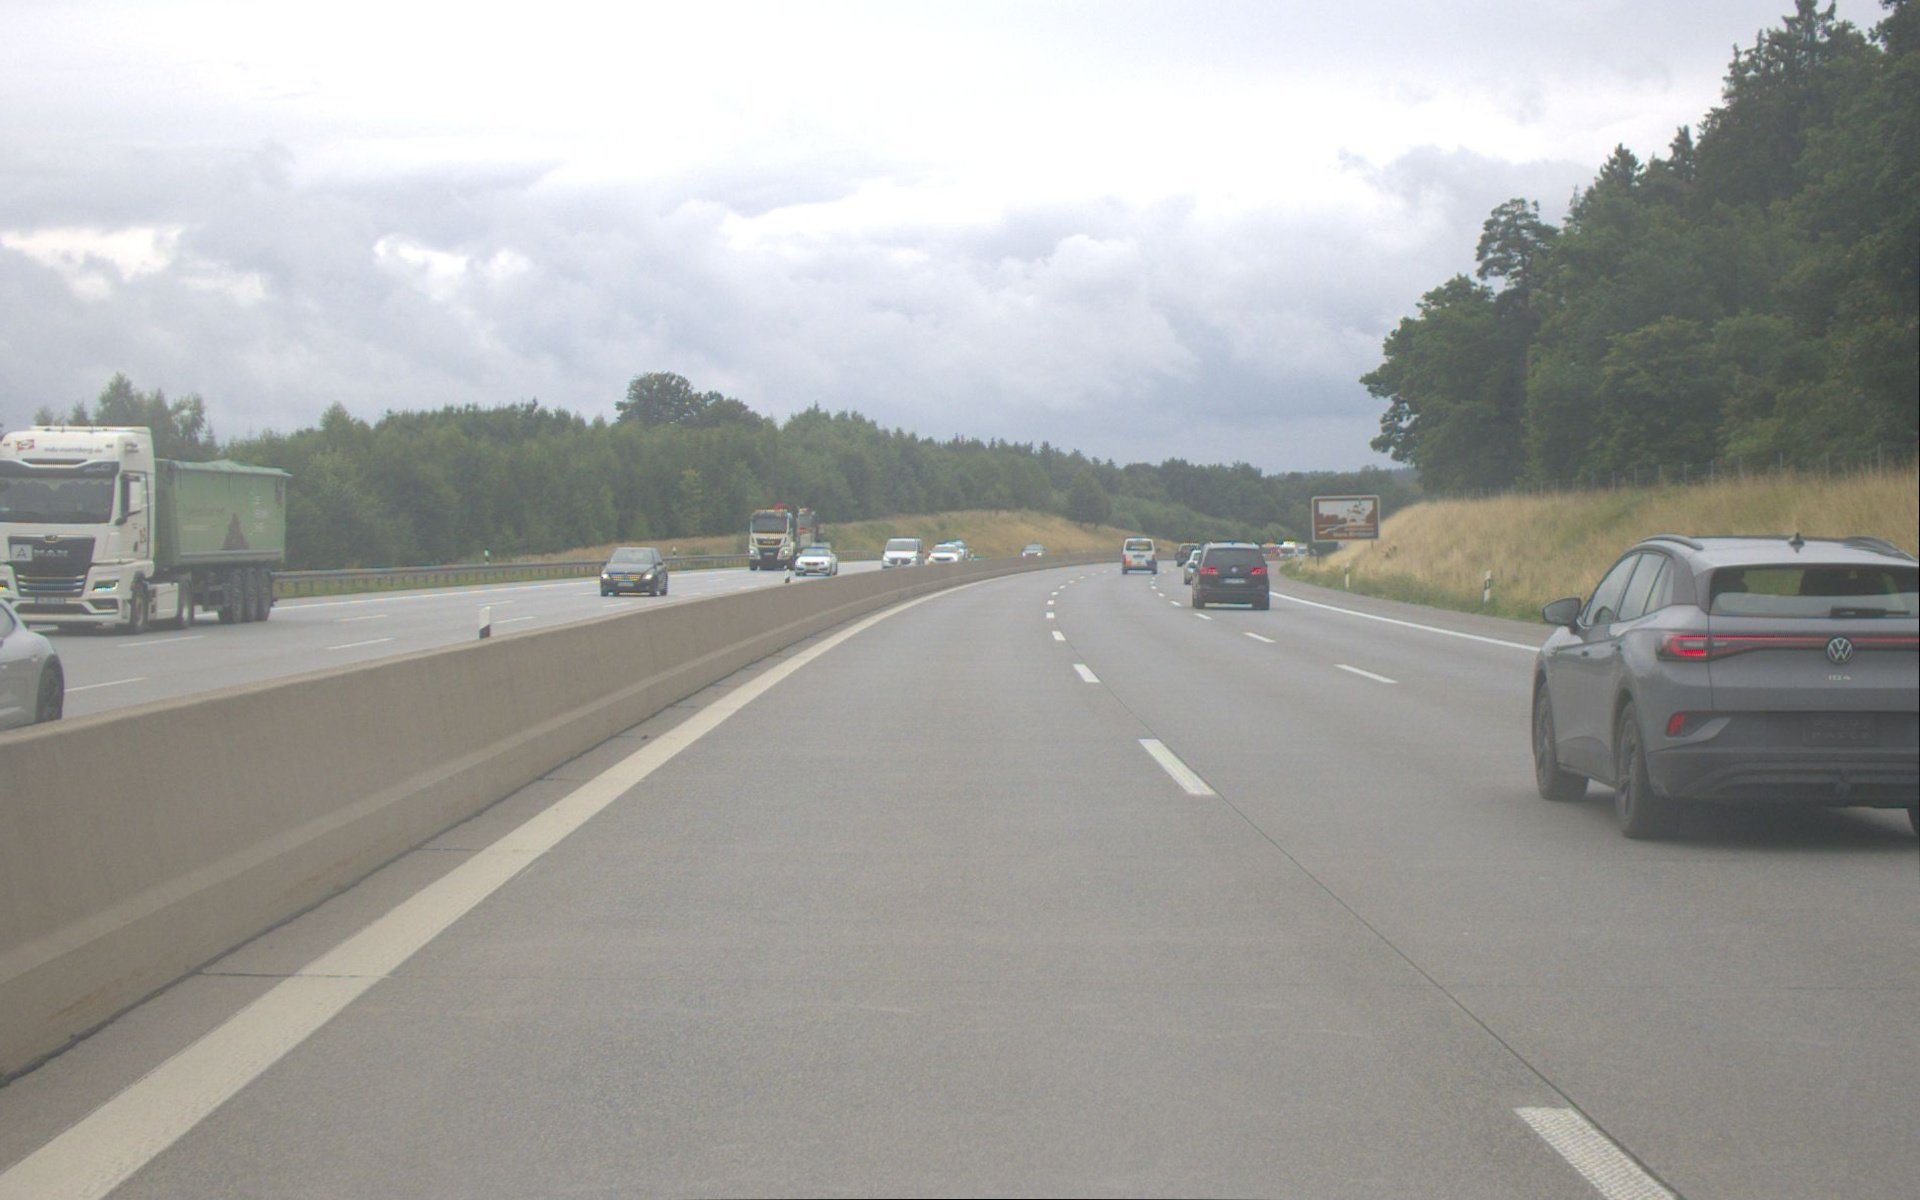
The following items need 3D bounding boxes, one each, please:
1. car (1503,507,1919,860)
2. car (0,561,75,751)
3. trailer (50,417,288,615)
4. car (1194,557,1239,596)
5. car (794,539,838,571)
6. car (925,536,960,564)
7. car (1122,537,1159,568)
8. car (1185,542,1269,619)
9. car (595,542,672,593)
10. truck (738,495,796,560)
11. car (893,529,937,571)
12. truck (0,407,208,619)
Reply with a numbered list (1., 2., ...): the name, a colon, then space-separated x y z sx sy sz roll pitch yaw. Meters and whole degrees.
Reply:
1. car: 4.434 0.343 19.528 1.898 1.684 5.266 1 2 1
2. car: -8.647 0.466 27.438 1.993 1.436 4.768 1 2 -1
3. trailer: -16.084 -1.711 70.620 2.749 3.787 9.317 0 1 0
4. car: 10.562 -0.962 141.888 1.801 1.460 3.811 1 2 4
5. car: -7.114 -2.222 170.235 1.737 1.363 4.097 3 3 3
6. car: -1.023 -2.935 201.325 1.714 1.415 4.213 3 3 3
7. car: 9.891 -2.607 188.034 1.841 1.495 4.000 -2 2 4
8. car: 6.787 -0.521 87.689 1.785 1.741 3.915 -3 2 1
9. car: -10.508 -1.064 110.903 1.993 1.584 4.771 1 1 0
10. truck: -10.843 -4.096 194.107 2.586 3.640 7.660 0 1 2
11. car: -2.311 -2.610 178.355 1.993 2.006 5.525 2 2 1
12. truck: -16.115 -1.595 64.483 2.750 3.789 5.531 0 0 1
